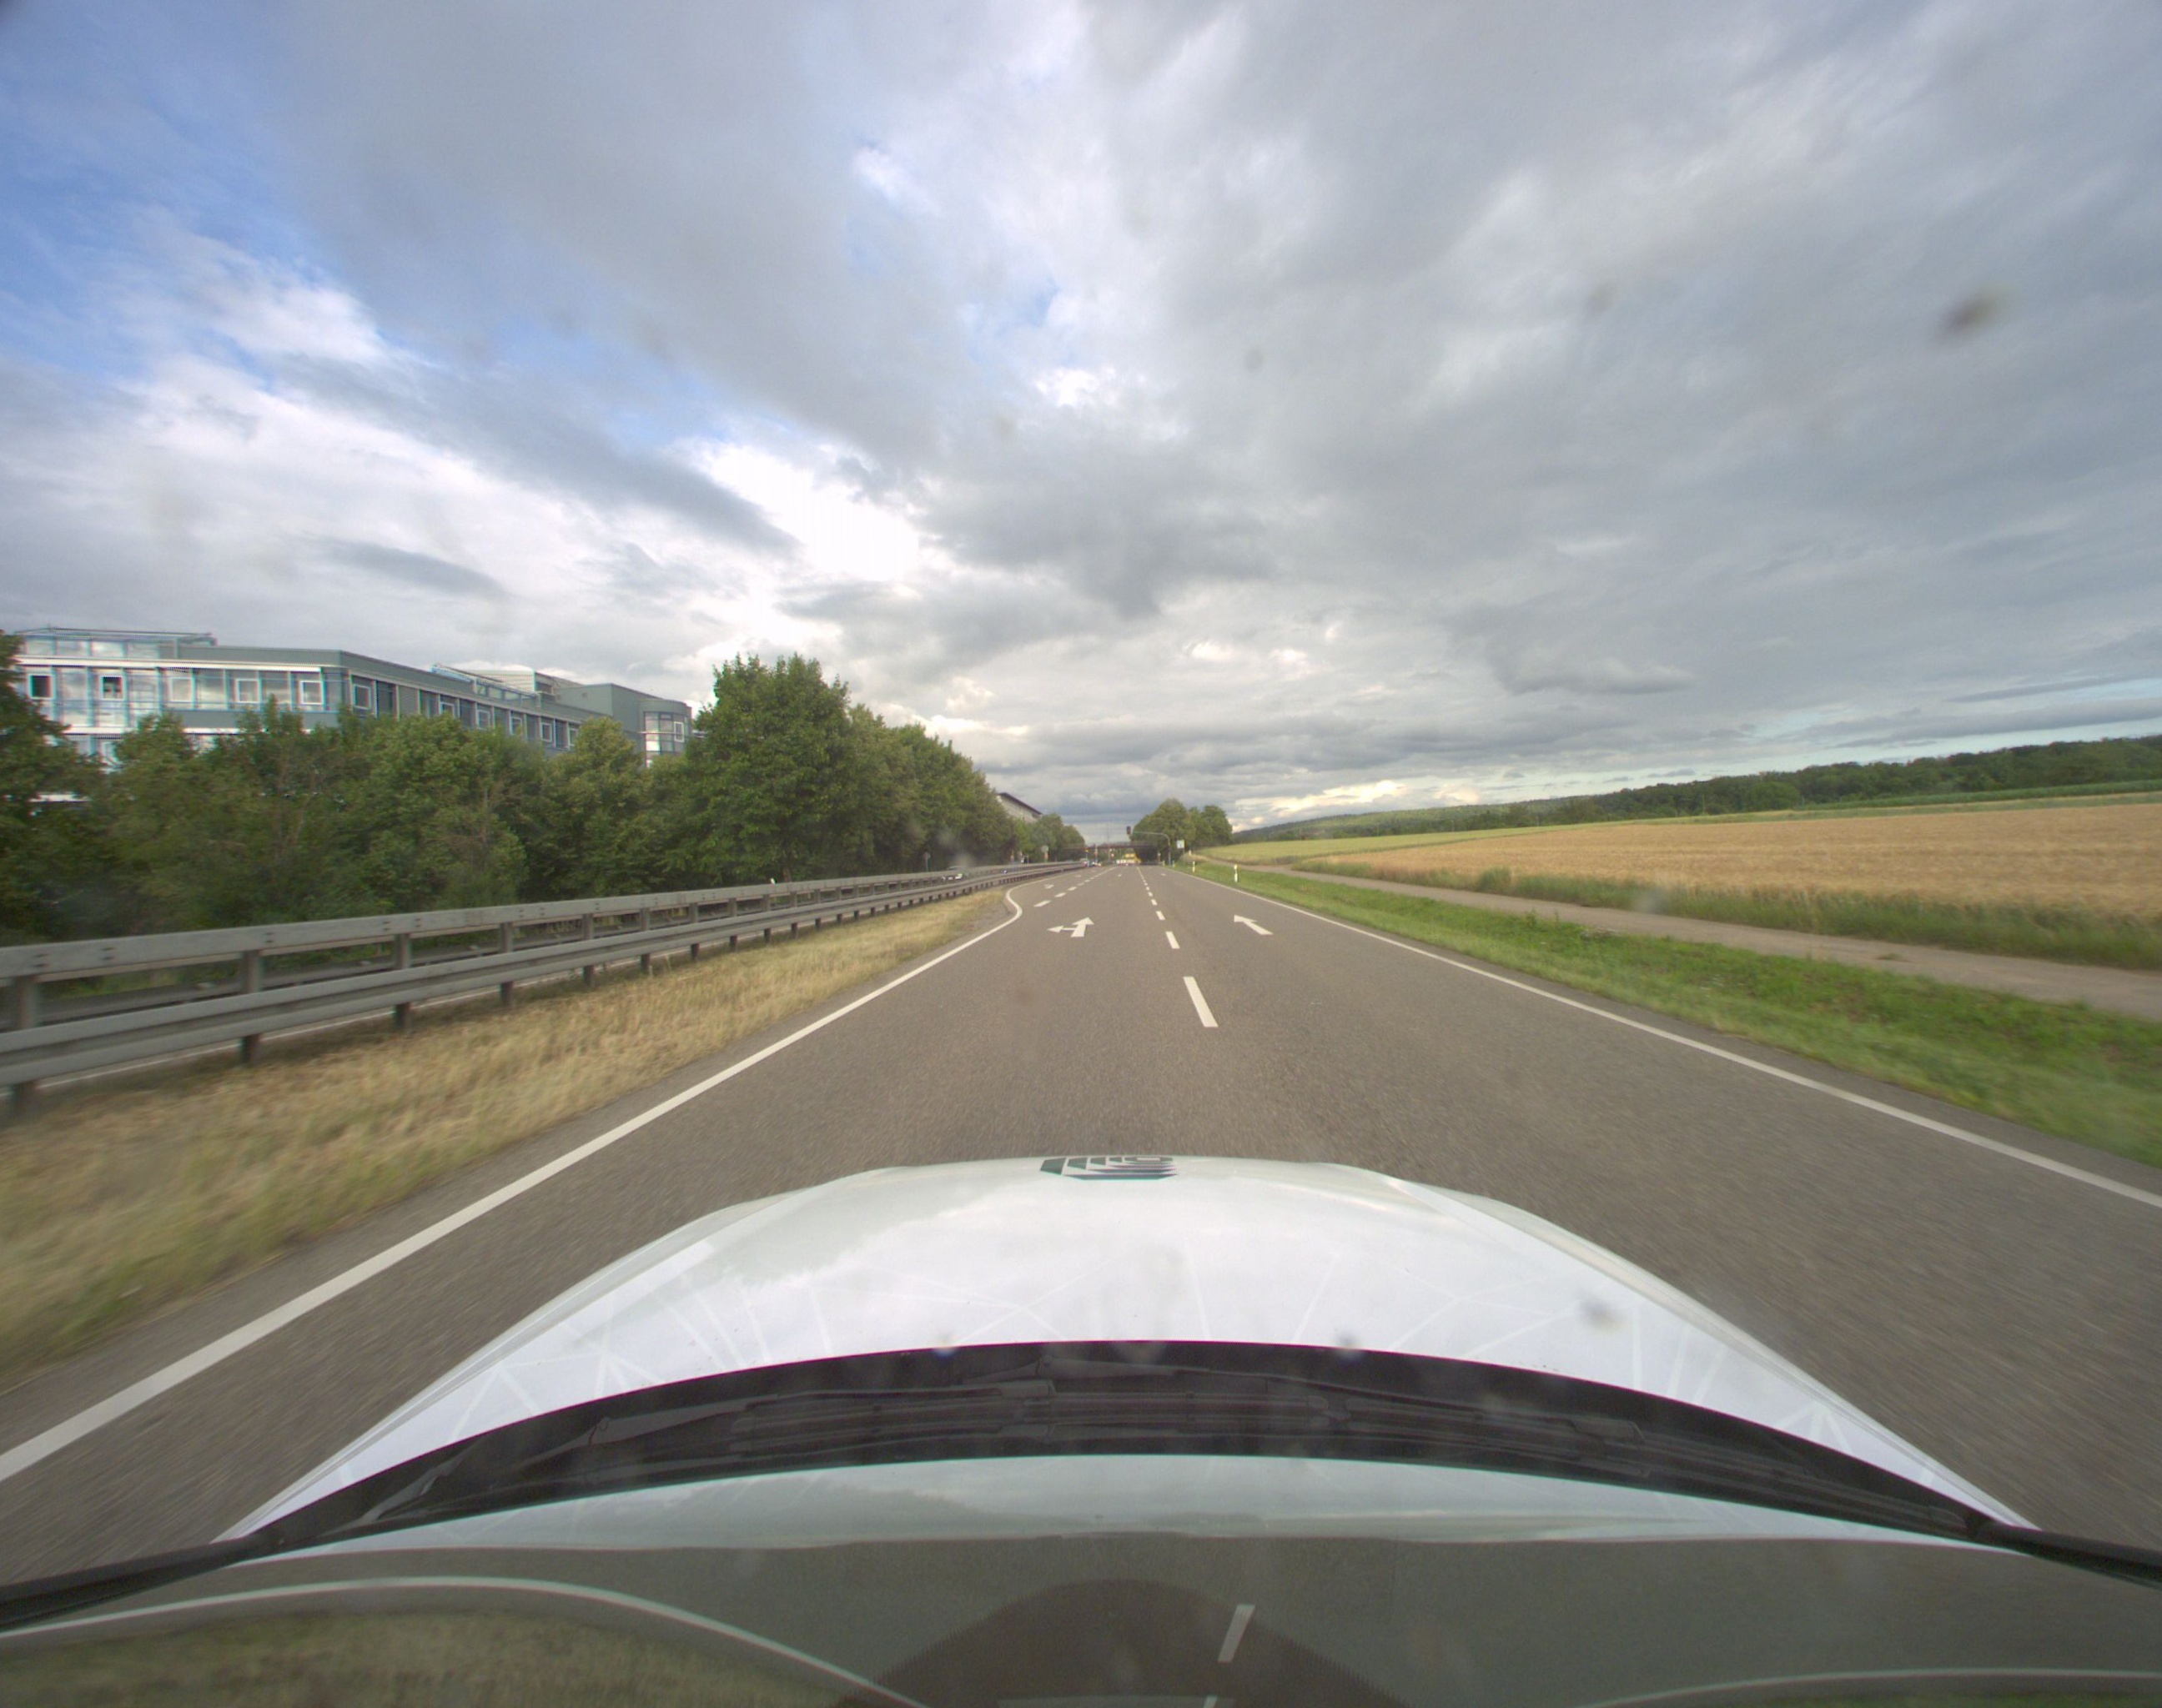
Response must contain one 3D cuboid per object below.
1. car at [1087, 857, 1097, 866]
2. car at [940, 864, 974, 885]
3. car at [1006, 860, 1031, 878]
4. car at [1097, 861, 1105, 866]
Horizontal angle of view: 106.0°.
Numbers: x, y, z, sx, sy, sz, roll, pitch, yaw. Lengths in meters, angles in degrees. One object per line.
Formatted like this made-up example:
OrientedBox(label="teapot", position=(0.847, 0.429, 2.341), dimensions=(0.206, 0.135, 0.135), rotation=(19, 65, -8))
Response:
OrientedBox(label="car", position=(2.540, 1.783, 189.440), dimensions=(1.985, 1.873, 4.741), rotation=(-2, 0, 4))
OrientedBox(label="car", position=(-9.651, 1.551, 63.678), dimensions=(1.752, 1.413, 4.462), rotation=(-2, 0, 3))
OrientedBox(label="car", position=(-5.649, 1.317, 73.988), dimensions=(1.761, 1.468, 3.715), rotation=(-2, 0, 3))
OrientedBox(label="car", position=(4.066, 1.957, 166.772), dimensions=(1.351, 1.092, 2.925), rotation=(-2, 0, 4))
